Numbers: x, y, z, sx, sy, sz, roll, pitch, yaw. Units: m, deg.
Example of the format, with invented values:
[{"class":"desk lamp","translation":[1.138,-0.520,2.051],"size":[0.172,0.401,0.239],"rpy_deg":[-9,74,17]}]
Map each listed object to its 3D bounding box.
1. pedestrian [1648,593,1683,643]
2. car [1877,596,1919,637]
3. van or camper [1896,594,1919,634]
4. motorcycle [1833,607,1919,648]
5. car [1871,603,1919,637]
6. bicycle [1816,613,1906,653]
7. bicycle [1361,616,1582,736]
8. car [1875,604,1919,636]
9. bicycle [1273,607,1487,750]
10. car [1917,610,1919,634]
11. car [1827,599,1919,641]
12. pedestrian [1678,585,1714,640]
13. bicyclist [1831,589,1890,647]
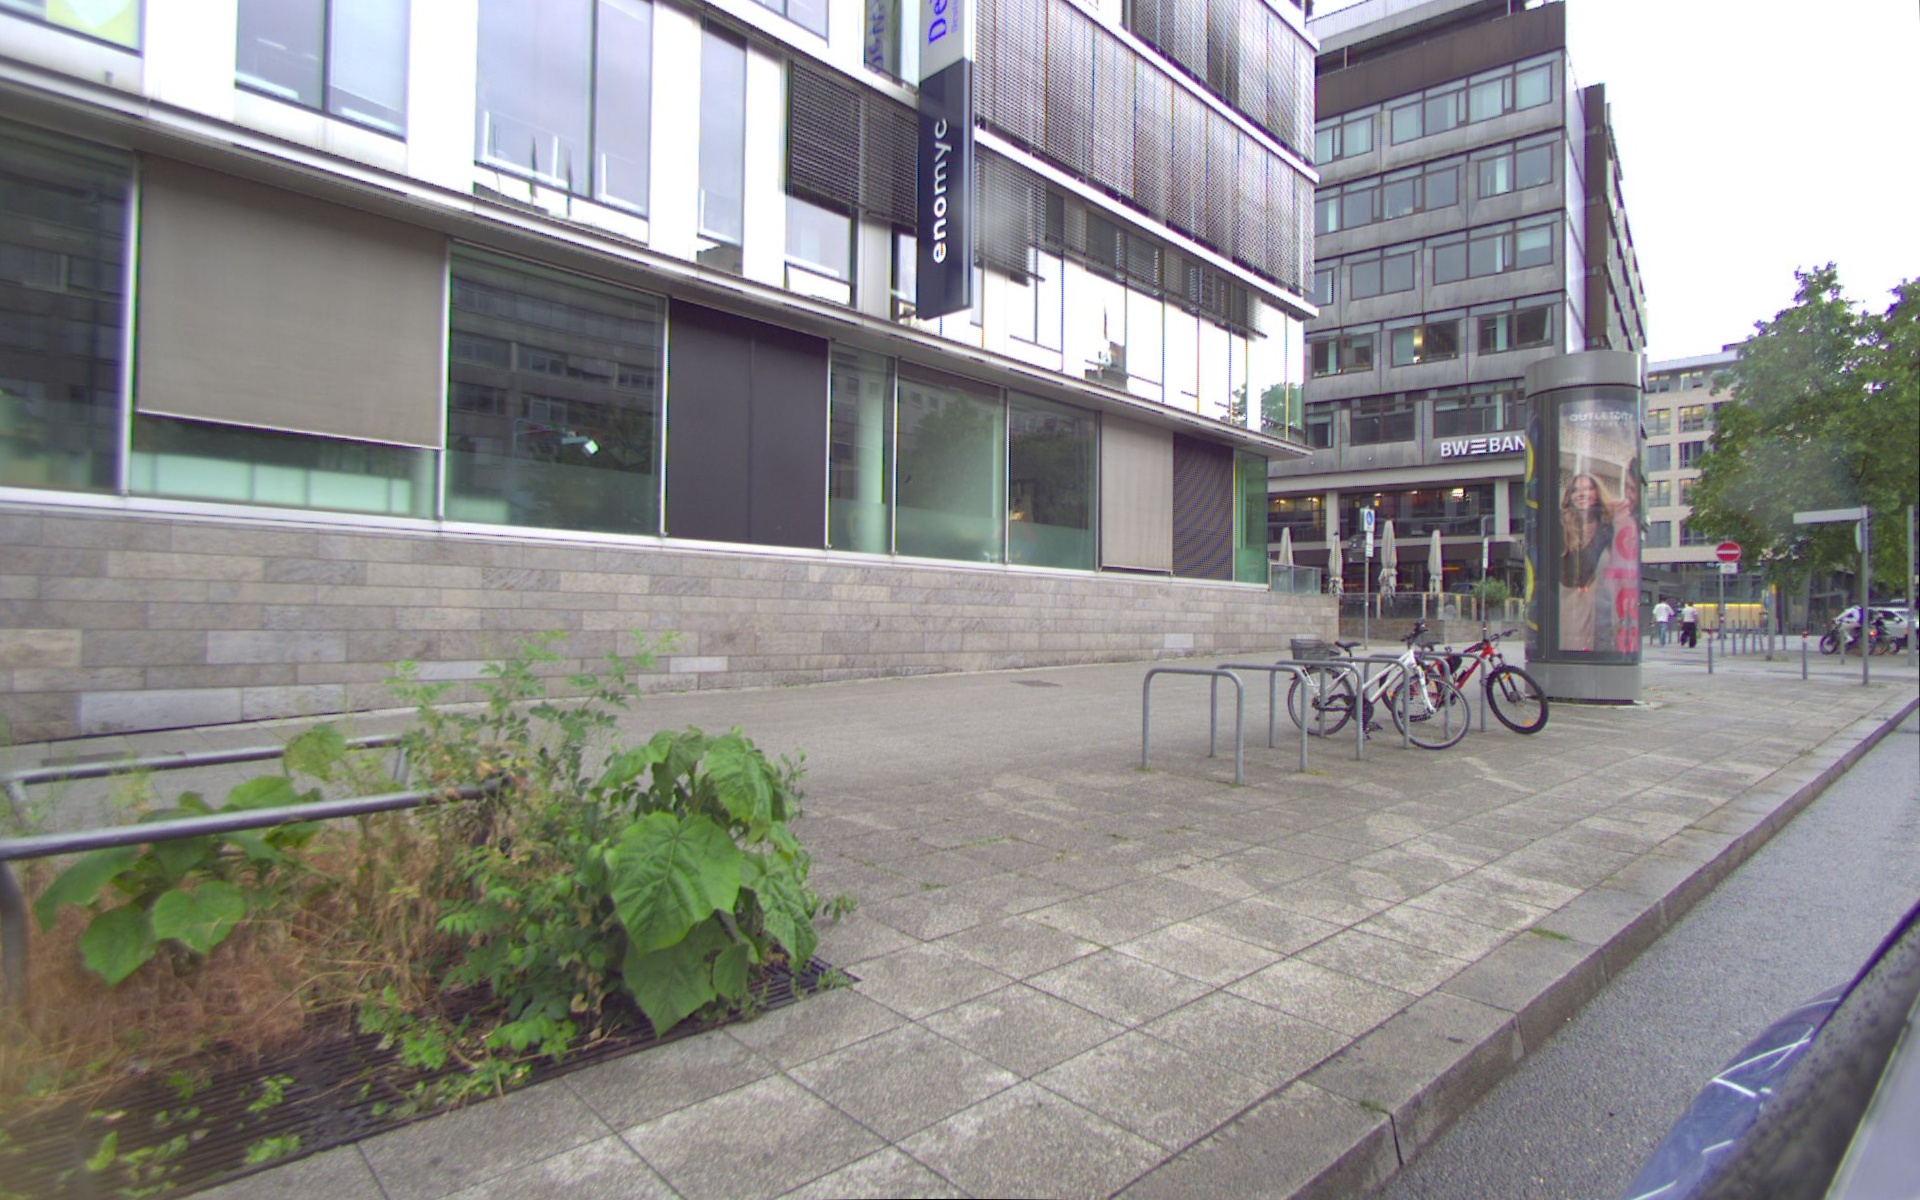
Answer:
[{"class":"pedestrian","translation":[27.063,0.707,38.804],"size":[0.881,1.893,0.803],"rpy_deg":[1,-2,-34]},{"class":"car","translation":[48.759,0.811,50.206],"size":[1.882,2.018,4.525],"rpy_deg":[0,-1,-12]},{"class":"van or camper","translation":[61.220,0.823,61.391],"size":[2.267,2.479,6.275],"rpy_deg":[0,-1,-11]},{"class":"motorcycle","translation":[31.709,0.947,35.081],"size":[0.664,1.375,2.090],"rpy_deg":[1,-2,-34]},{"class":"car","translation":[44.806,0.931,46.259],"size":[1.876,1.557,4.365],"rpy_deg":[0,-1,-14]},{"class":"bicycle","translation":[28.532,1.020,32.065],"size":[0.762,1.153,1.980],"rpy_deg":[0,1,-32]},{"class":"bicycle","translation":[5.480,0.760,10.955],"size":[0.793,1.118,1.989],"rpy_deg":[1,0,-37]},{"class":"car","translation":[46.750,0.950,48.195],"size":[1.876,1.557,4.399],"rpy_deg":[0,-1,-14]},{"class":"bicycle","translation":[4.033,0.698,9.848],"size":[0.648,1.212,1.841],"rpy_deg":[1,0,-37]},{"class":"car","translation":[58.692,1.256,58.906],"size":[1.673,1.442,4.068],"rpy_deg":[0,-1,-12]},{"class":"car","translation":[38.694,0.804,41.344],"size":[1.876,1.671,4.812],"rpy_deg":[0,-1,-11]},{"class":"pedestrian","translation":[27.805,0.476,38.245],"size":[0.738,2.065,0.853],"rpy_deg":[1,-2,-32]},{"class":"bicyclist","translation":[28.538,0.567,32.079],"size":[0.796,1.772,1.080],"rpy_deg":[-1,-3,-32]}]
